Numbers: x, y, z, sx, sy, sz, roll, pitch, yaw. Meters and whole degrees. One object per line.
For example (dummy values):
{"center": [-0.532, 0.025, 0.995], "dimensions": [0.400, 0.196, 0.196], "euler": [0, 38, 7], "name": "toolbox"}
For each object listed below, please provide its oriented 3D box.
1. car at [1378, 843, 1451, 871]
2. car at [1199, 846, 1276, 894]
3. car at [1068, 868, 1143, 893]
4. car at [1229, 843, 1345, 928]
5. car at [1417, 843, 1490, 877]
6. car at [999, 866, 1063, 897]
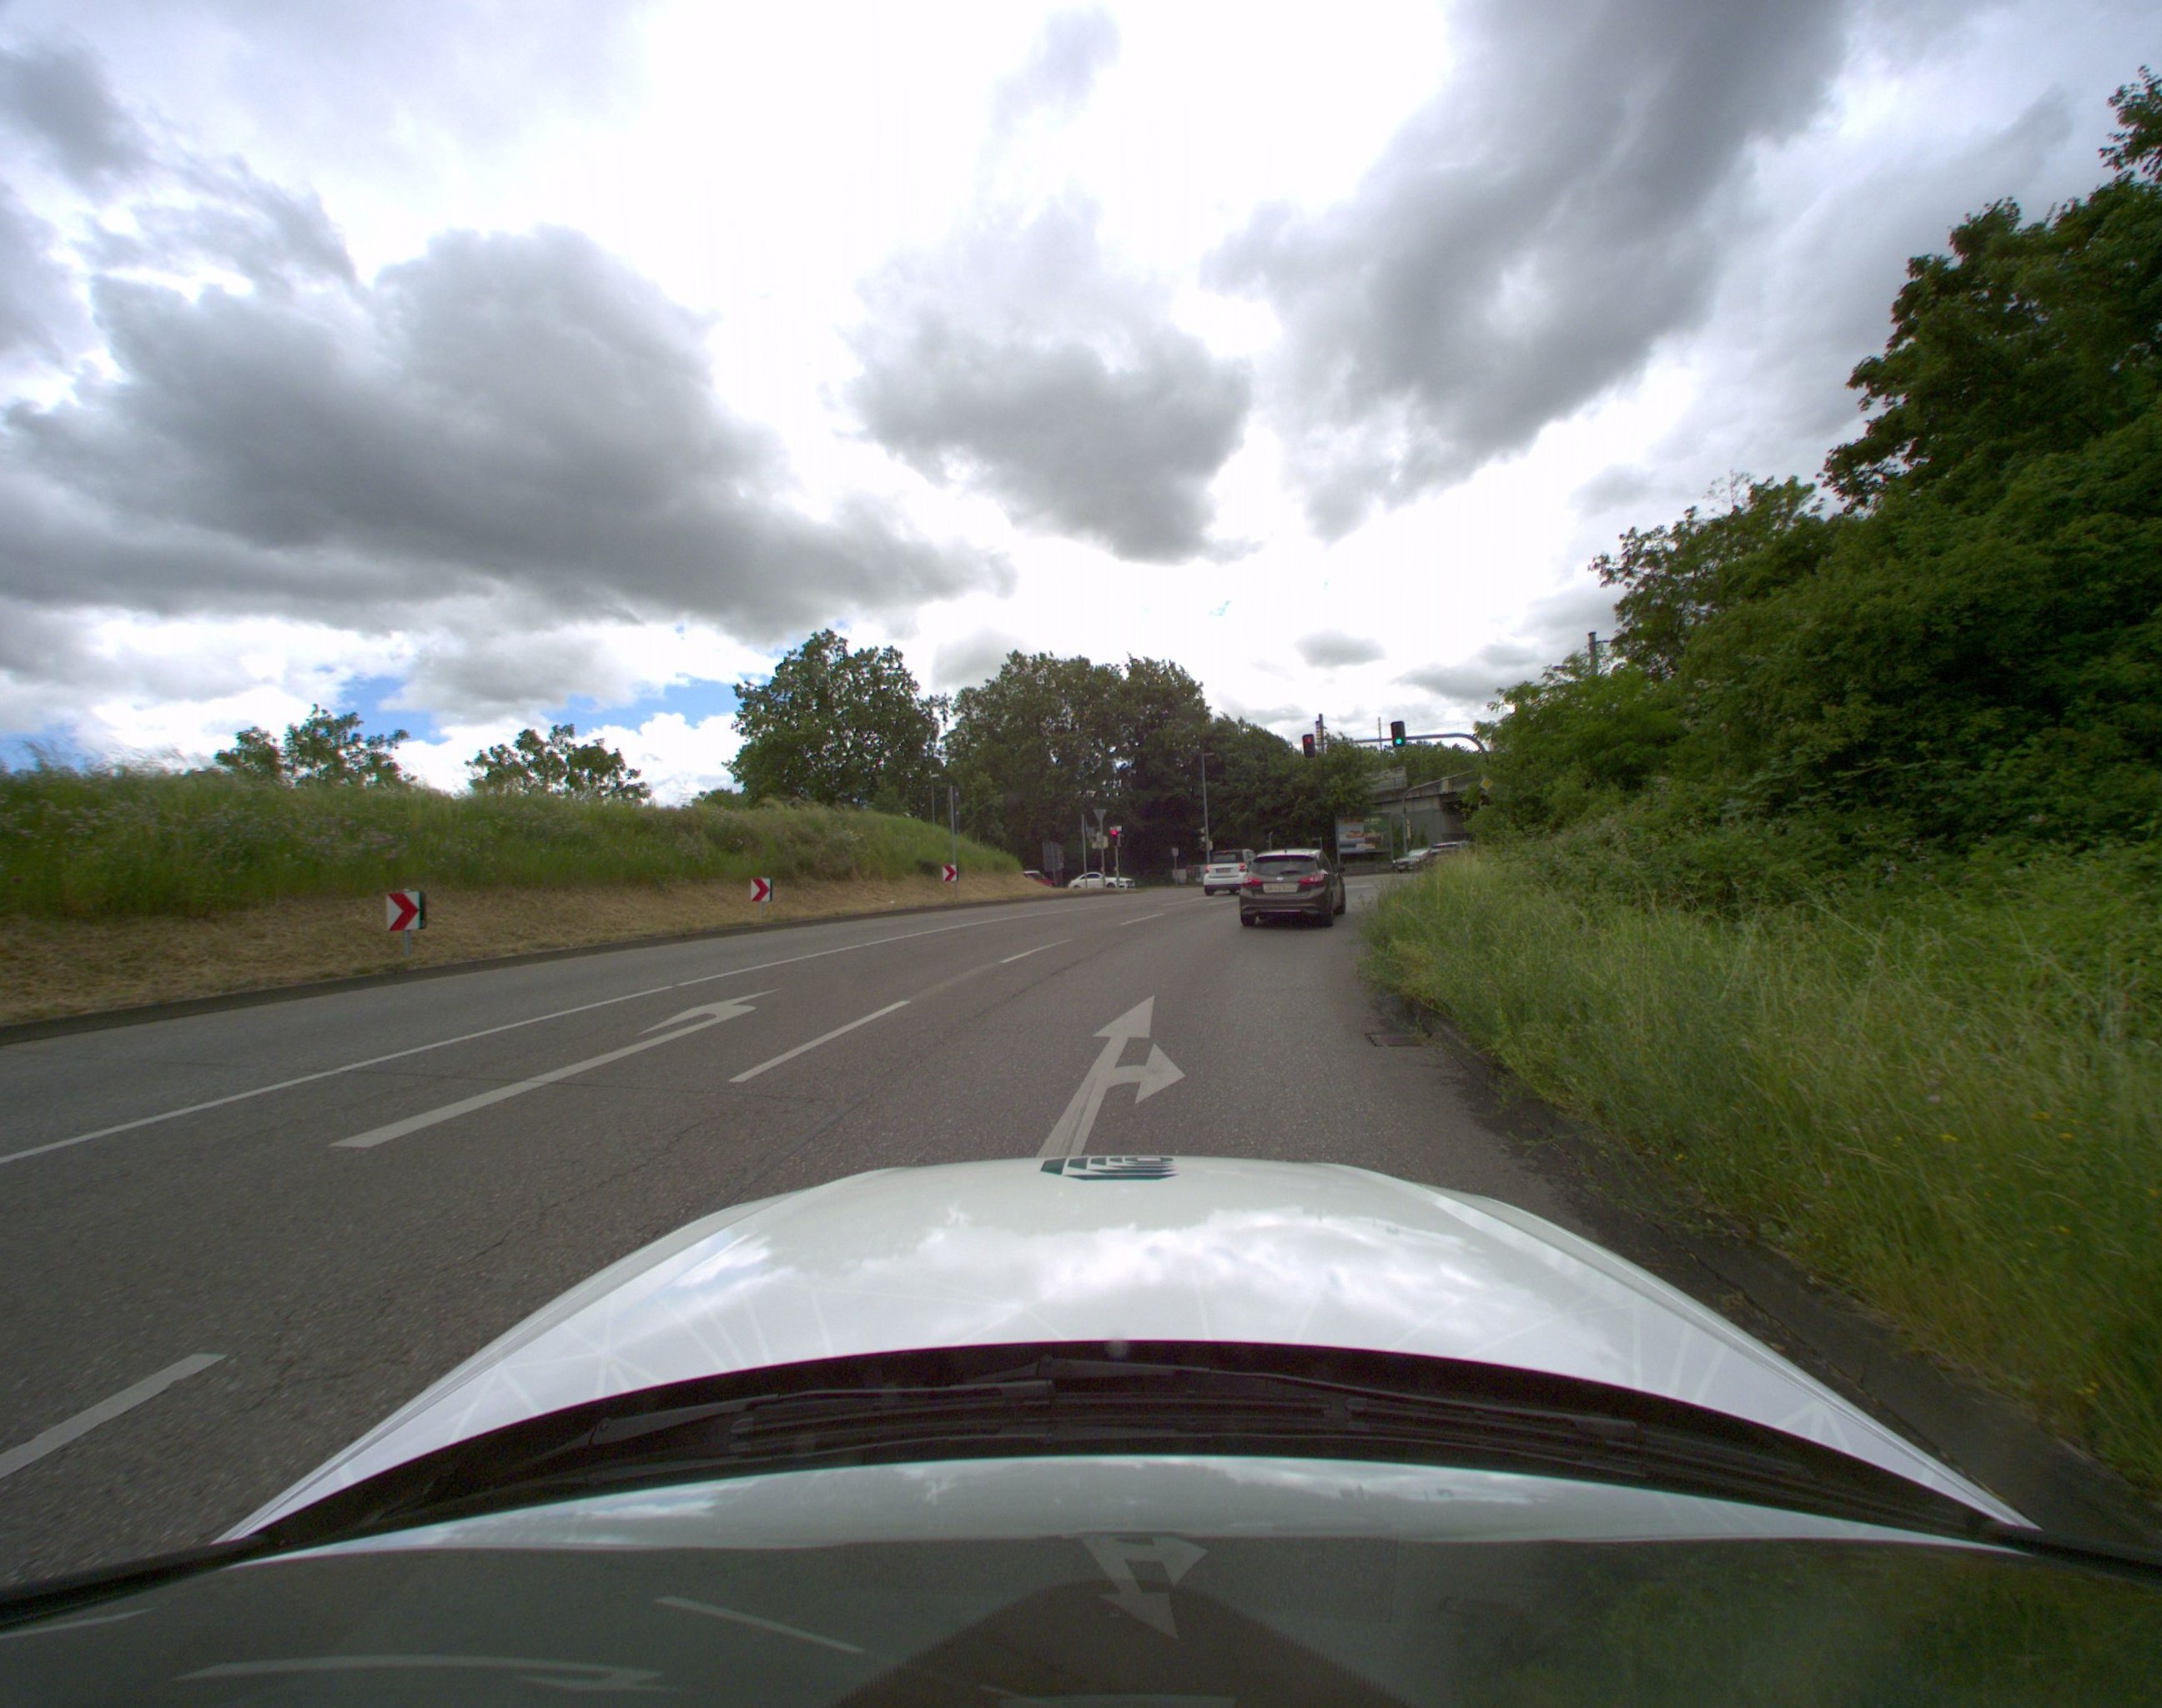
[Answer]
{"center": [19.919, 0.171, 48.634], "dimensions": [4.438, 1.420, 1.752], "euler": [-2, -1, -33], "name": "car"}
{"center": [5.536, 0.535, 28.577], "dimensions": [1.560, 1.557, 3.036], "euler": [-2, 0, 33], "name": "car"}
{"center": [1.519, 1.686, 51.941], "dimensions": [4.362, 1.339, 2.012], "euler": [-5, -4, 37], "name": "car"}
{"center": [4.459, 0.577, 17.212], "dimensions": [1.829, 1.492, 4.022], "euler": [-1, 1, 22], "name": "car"}
{"center": [16.996, 0.231, 37.091], "dimensions": [1.882, 1.466, 4.024], "euler": [1, 1, 42], "name": "car"}
{"center": [-3.459, 1.918, 55.992], "dimensions": [3.986, 1.813, 1.867], "euler": [-6, -3, 37], "name": "car"}
